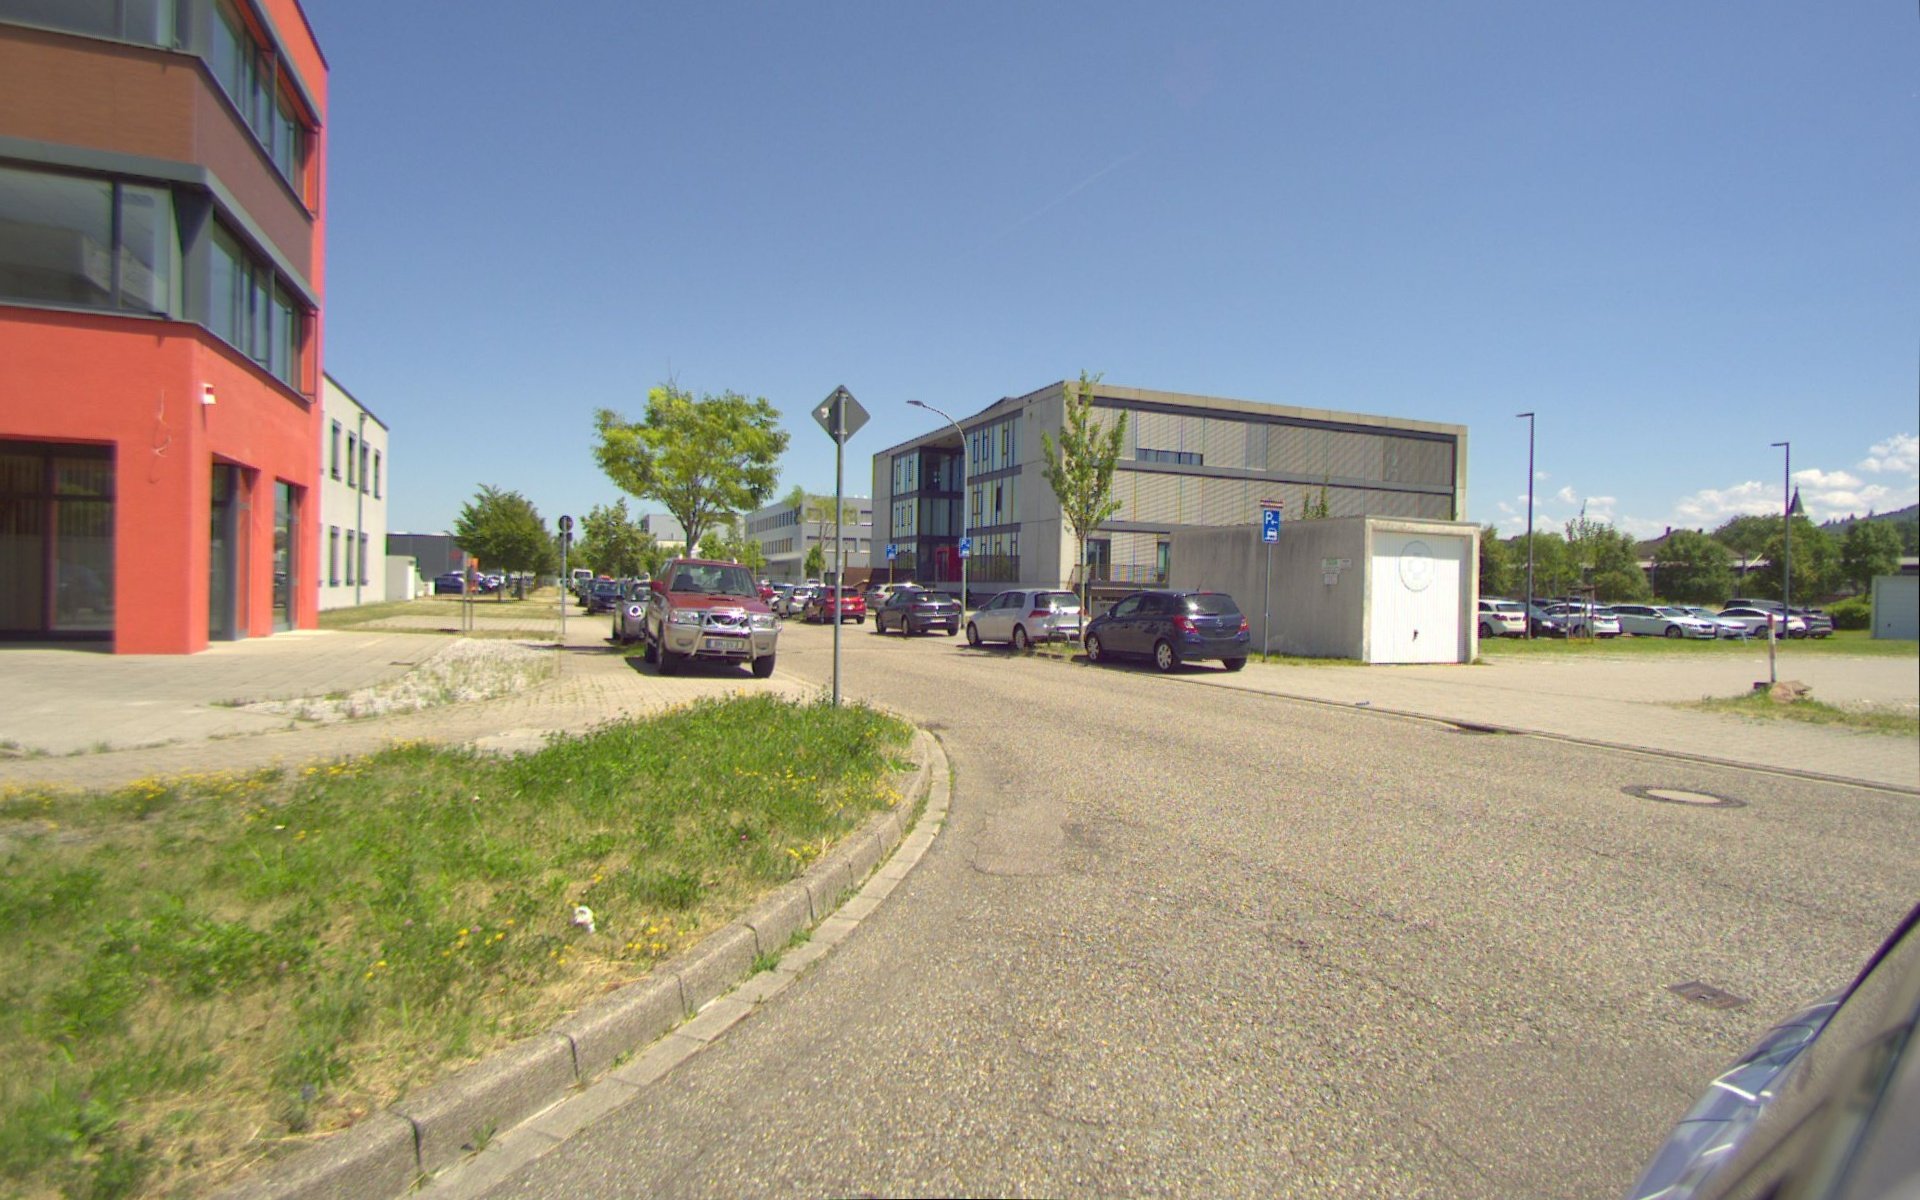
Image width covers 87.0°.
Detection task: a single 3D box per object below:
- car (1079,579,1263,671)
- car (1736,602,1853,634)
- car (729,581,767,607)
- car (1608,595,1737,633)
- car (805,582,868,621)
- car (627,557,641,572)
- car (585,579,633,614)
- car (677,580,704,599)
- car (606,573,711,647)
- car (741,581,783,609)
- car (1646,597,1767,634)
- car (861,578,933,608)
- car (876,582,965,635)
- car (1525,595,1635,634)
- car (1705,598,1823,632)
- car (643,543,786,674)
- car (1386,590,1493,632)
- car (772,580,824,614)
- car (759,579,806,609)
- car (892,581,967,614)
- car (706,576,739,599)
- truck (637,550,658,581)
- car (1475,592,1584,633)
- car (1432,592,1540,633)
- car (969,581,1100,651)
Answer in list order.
[{"bbox_3d":[3.903,0.389,19.312,1.649,1.519,3.635,-2,2,-22],"label":"car"},{"bbox_3d":[40.389,0.855,49.085,1.624,1.404,4.065,0,1,-22],"label":"car"},{"bbox_3d":[-13.032,-0.395,61.975,1.624,1.487,3.636,-2,2,-22],"label":"car"},{"bbox_3d":[31.017,0.579,44.211,1.673,1.485,4.380,0,1,-22],"label":"car"},{"bbox_3d":[-5.098,0.024,41.389,1.624,1.487,3.636,-2,2,-22],"label":"car"},{"bbox_3d":[-47.452,-5.128,147.129,1.860,2.039,4.009,1,1,-19],"label":"car"},{"bbox_3d":[-15.694,-0.189,45.152,1.750,1.460,3.715,1,1,-24],"label":"car"},{"bbox_3d":[-22.130,-0.901,82.997,1.624,1.487,3.636,-2,2,-22],"label":"car"},{"bbox_3d":[-7.000,0.179,23.263,1.750,1.460,3.715,4,0,-24],"label":"car"},{"bbox_3d":[-11.214,-0.307,57.246,1.624,1.487,3.636,-2,2,-22],"label":"car"},{"bbox_3d":[33.164,0.650,45.103,1.624,1.485,4.065,0,1,-22],"label":"car"},{"bbox_3d":[-3.300,-0.396,53.507,3.569,1.487,1.655,-3,2,-44],"label":"car"},{"bbox_3d":[-1.300,0.222,31.652,1.624,1.487,3.636,-2,2,-22],"label":"car"},{"bbox_3d":[25.839,0.569,42.299,1.624,1.519,3.635,0,1,-22],"label":"car"},{"bbox_3d":[37.494,0.671,47.312,1.624,1.443,4.065,0,1,-22],"label":"car"},{"bbox_3d":[-4.078,0.125,16.371,1.772,1.797,4.008,3,-1,-19],"label":"car"},{"bbox_3d":[18.707,0.385,39.614,1.624,1.519,3.635,0,1,-22],"label":"car"},{"bbox_3d":[-7.669,-0.182,47.744,1.624,1.487,3.636,-2,2,-22],"label":"car"},{"bbox_3d":[-9.211,-0.343,52.379,1.624,1.487,3.636,-2,2,-22],"label":"car"},{"bbox_3d":[-1.502,-0.145,50.377,3.569,1.487,1.655,-3,2,-44],"label":"car"},{"bbox_3d":[-16.267,-0.895,69.107,1.624,1.487,3.636,-2,2,-22],"label":"car"},{"bbox_3d":[-38.845,-4.229,125.571,1.765,3.631,7.449,1,1,-22],"label":"truck"},{"bbox_3d":[23.056,0.481,41.108,1.624,1.554,3.635,0,1,-22],"label":"car"},{"bbox_3d":[21.007,0.457,40.523,1.624,1.519,3.635,0,1,-22],"label":"car"},{"bbox_3d":[1.717,0.326,24.537,1.625,1.519,3.635,-2,2,-24],"label":"car"}]
